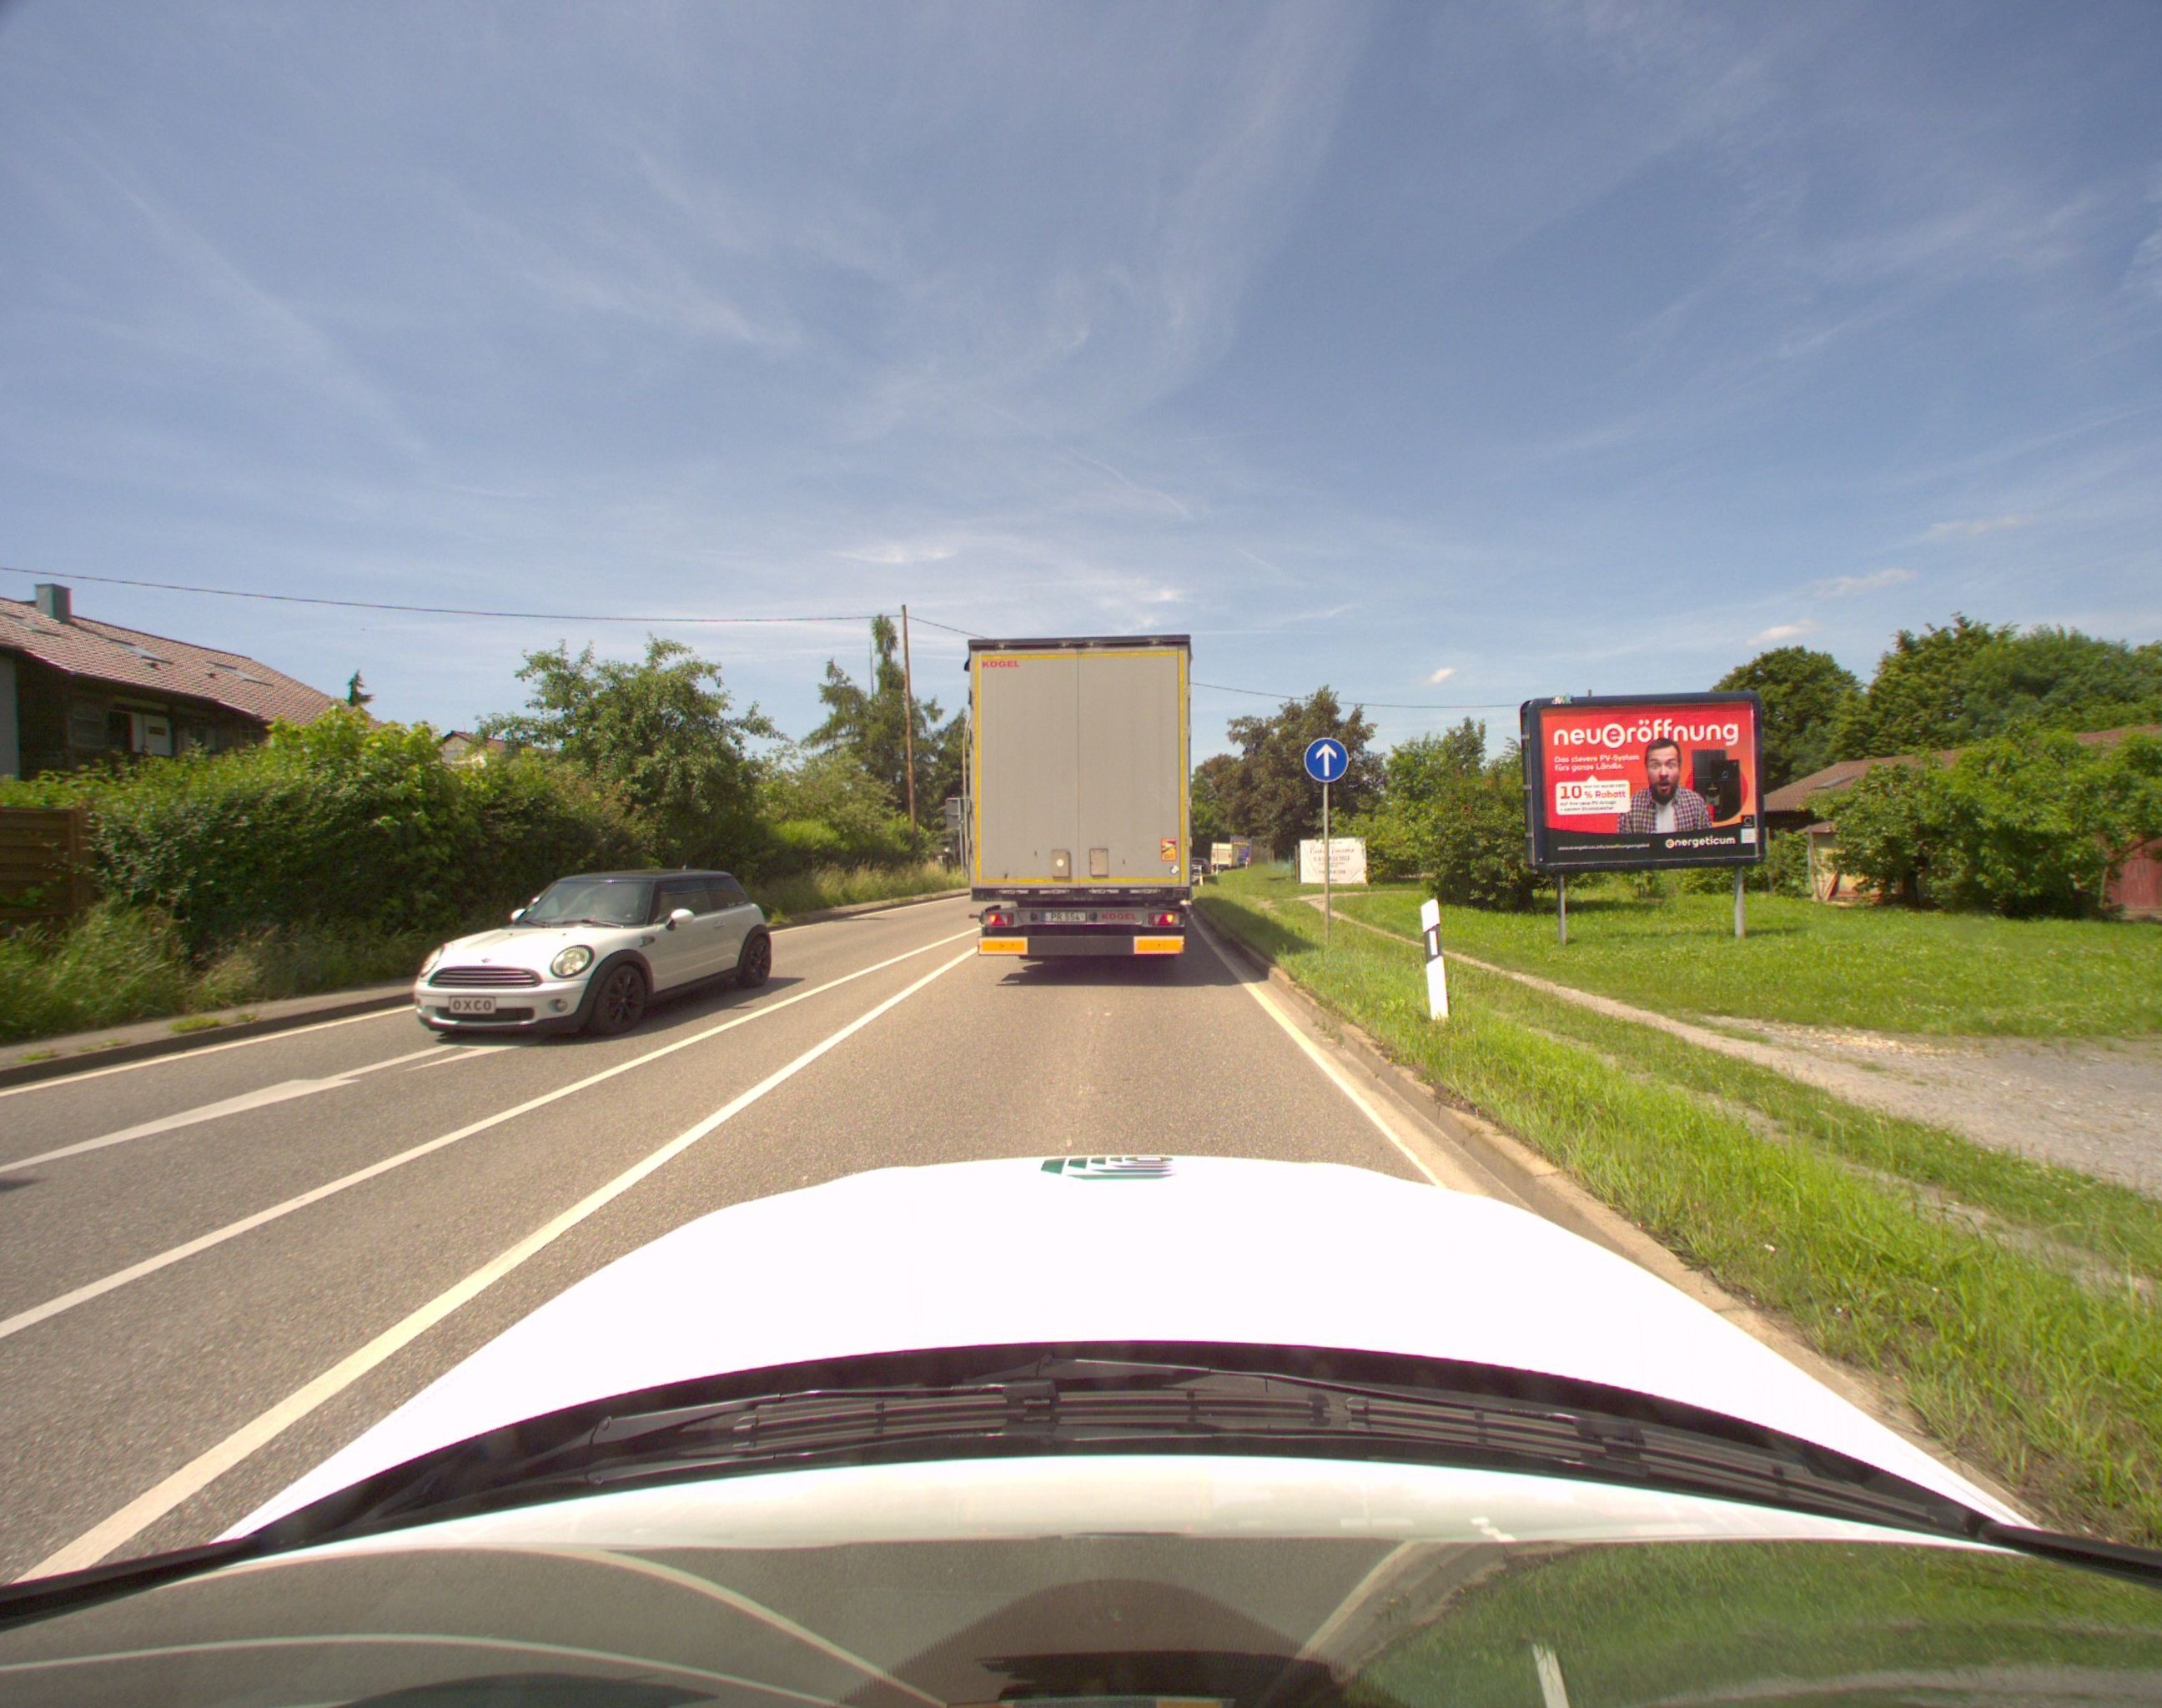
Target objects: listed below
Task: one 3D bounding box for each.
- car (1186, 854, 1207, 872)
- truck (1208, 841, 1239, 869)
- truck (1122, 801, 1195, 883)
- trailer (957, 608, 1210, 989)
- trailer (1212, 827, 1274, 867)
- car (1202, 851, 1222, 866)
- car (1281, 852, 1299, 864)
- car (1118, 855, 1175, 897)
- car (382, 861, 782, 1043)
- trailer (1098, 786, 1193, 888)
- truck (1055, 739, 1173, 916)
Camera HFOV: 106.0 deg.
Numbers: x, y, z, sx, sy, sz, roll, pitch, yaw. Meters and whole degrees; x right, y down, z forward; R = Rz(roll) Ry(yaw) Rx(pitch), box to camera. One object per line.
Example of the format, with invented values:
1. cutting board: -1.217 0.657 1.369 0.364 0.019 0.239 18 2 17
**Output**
1. car: 10.233 0.788 72.058 1.831 1.486 4.009 -1 0 8
2. truck: 15.040 0.042 85.889 2.401 2.838 5.438 -1 0 18
3. truck: 4.863 -0.651 49.679 3.914 4.574 7.170 -1 0 9
4. trailer: 0.476 -0.657 15.133 2.774 4.205 12.126 -1 0 4
5. trailer: 20.547 -0.913 102.113 5.136 4.628 15.977 -1 0 20
6. car: 17.250 0.596 107.126 1.977 1.838 4.019 -1 0 18
7. car: 31.921 0.624 124.436 1.975 1.684 4.023 -1 0 25
8. car: 2.720 0.849 32.917 1.982 1.530 4.010 -1 0 9
9. car: -4.689 0.812 8.336 1.614 1.381 3.566 -1 0 6
10. trailer: 3.722 -0.754 42.865 3.868 4.521 12.745 -1 0 9
11. truck: 1.108 -0.635 22.379 2.731 4.165 6.154 -1 0 6
